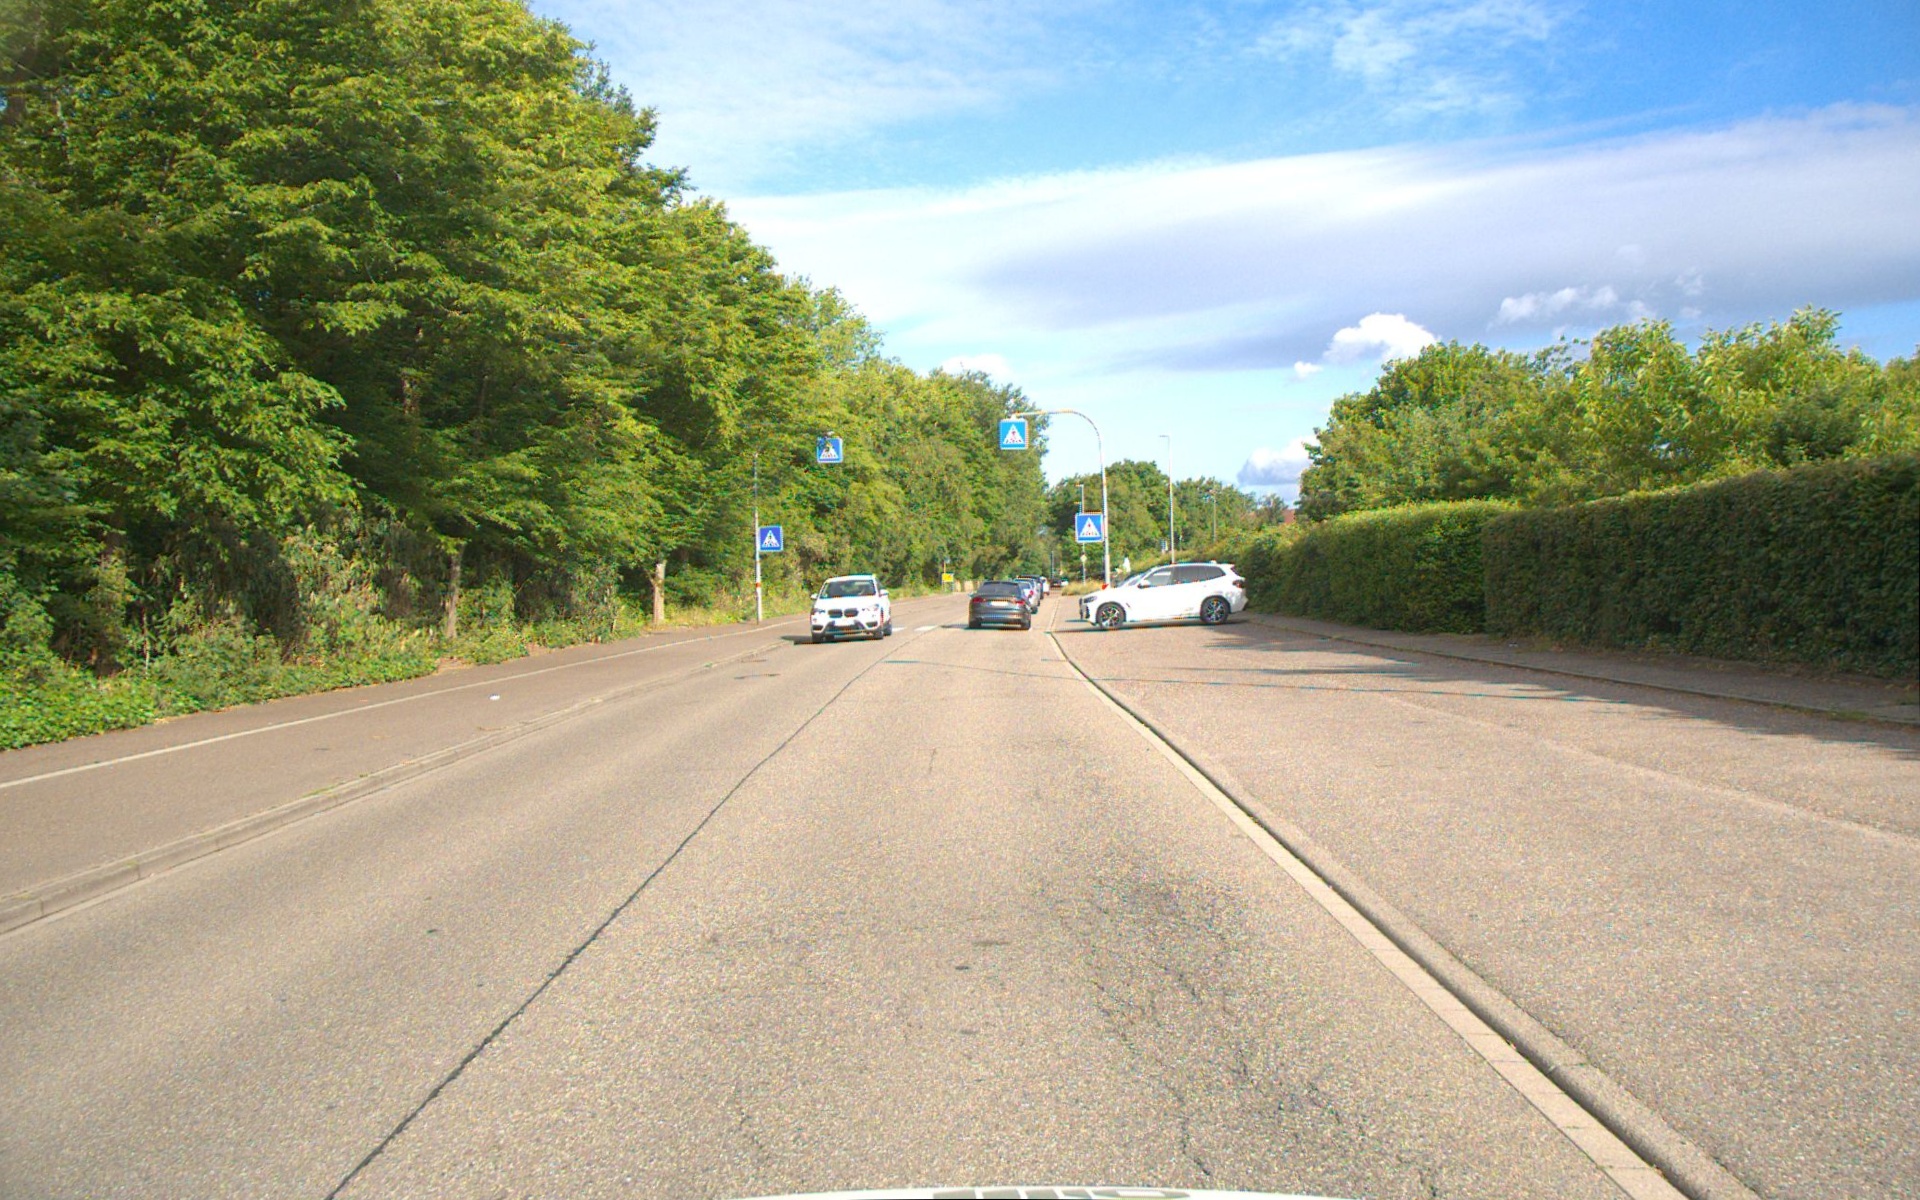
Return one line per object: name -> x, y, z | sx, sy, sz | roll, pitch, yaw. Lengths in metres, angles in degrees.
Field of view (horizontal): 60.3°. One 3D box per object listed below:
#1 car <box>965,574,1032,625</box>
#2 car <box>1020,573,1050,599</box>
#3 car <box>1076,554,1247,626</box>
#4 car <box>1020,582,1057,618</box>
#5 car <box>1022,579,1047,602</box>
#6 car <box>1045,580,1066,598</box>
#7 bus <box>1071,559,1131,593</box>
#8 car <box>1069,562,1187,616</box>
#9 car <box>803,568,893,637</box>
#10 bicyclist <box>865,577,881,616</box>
car -> 1.162, -0.044, 49.593 | 1.925, 1.459, 4.337 | 0, 1, 1
car -> 3.943, -0.731, 87.029 | 1.464, 1.327, 3.264 | -1, 1, 4
car -> 5.450, -0.271, 45.204 | 4.491, 1.729, 1.764 | -2, 0, 4
car -> 3.218, -0.023, 68.276 | 1.464, 1.390, 3.263 | -2, 1, 2
car -> 4.824, -0.612, 106.781 | 1.464, 1.390, 3.264 | -1, 1, 4
car -> 7.751, -0.908, 134.451 | 1.463, 1.390, 3.265 | -1, 1, 7
bus -> 12.873, -2.189, 150.925 | 5.255, 2.794, 2.069 | -2, 1, 1
car -> 5.685, -0.373, 56.243 | 3.778, 1.515, 1.693 | -4, 2, 2
car -> -2.822, 0.056, 42.504 | 1.764, 1.613, 4.103 | -2, 0, 3
bicyclist -> -3.873, -0.155, 73.409 | 0.596, 1.706, 0.884 | 0, 0, 4
